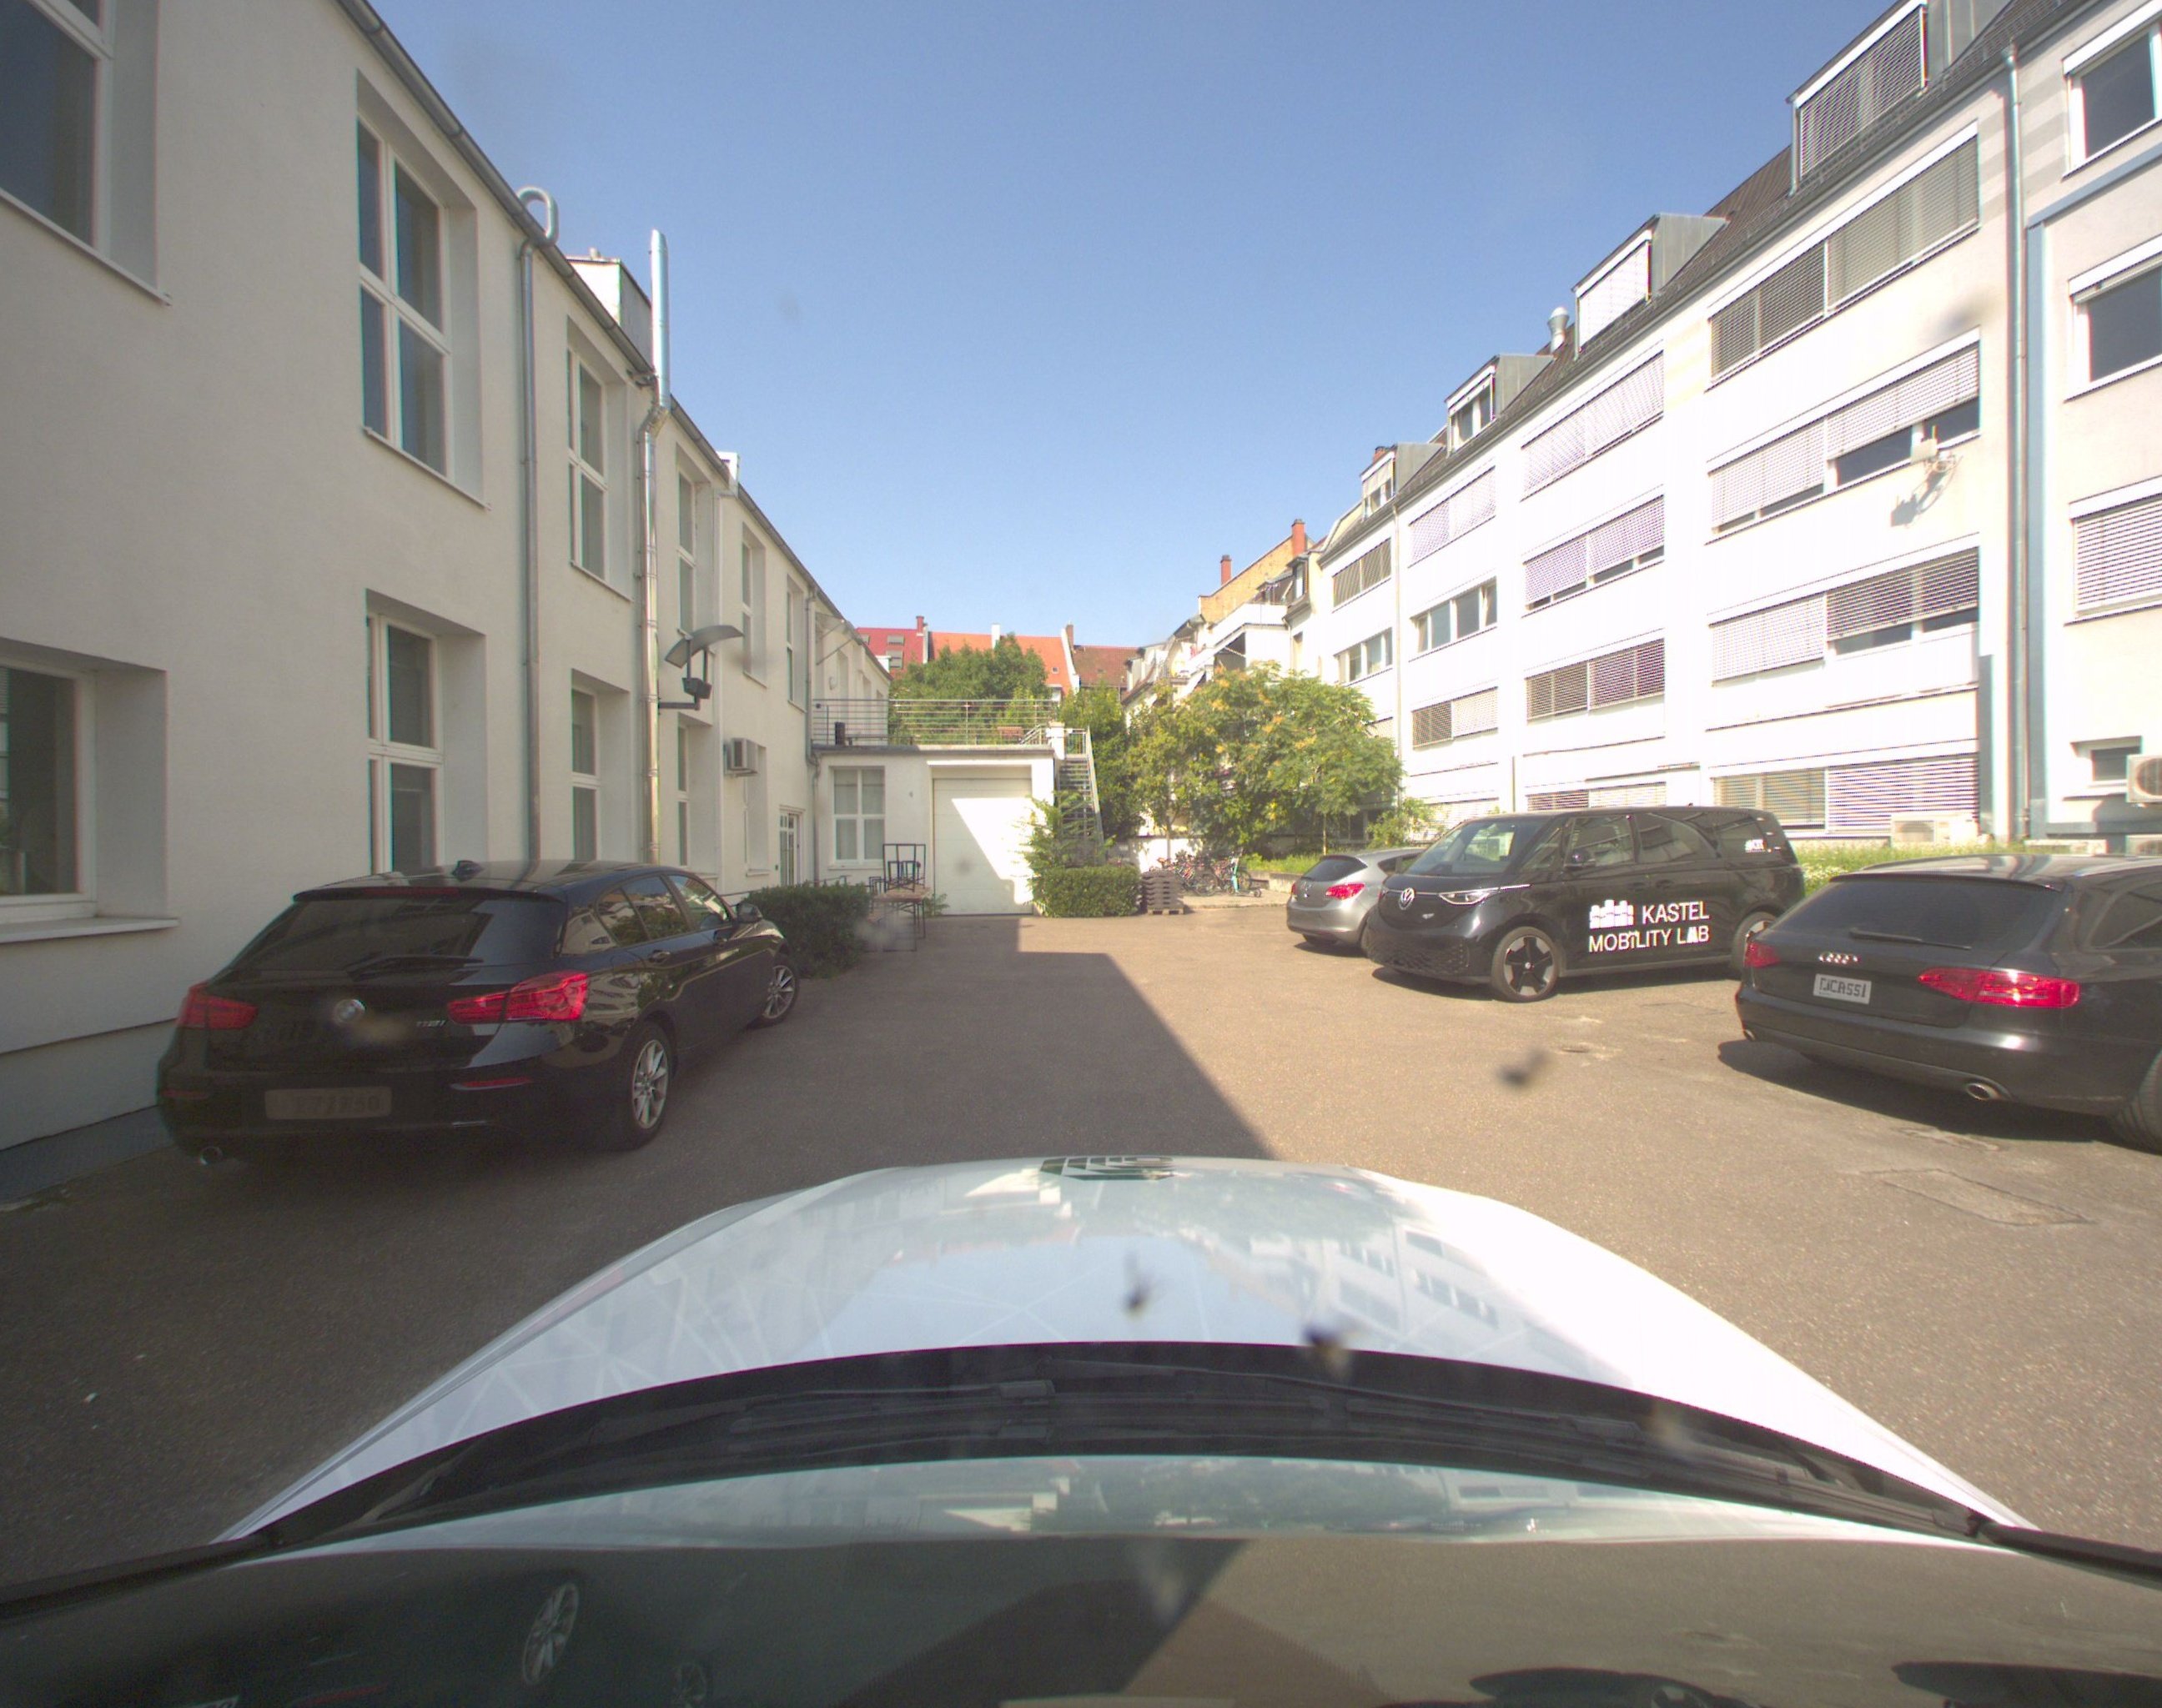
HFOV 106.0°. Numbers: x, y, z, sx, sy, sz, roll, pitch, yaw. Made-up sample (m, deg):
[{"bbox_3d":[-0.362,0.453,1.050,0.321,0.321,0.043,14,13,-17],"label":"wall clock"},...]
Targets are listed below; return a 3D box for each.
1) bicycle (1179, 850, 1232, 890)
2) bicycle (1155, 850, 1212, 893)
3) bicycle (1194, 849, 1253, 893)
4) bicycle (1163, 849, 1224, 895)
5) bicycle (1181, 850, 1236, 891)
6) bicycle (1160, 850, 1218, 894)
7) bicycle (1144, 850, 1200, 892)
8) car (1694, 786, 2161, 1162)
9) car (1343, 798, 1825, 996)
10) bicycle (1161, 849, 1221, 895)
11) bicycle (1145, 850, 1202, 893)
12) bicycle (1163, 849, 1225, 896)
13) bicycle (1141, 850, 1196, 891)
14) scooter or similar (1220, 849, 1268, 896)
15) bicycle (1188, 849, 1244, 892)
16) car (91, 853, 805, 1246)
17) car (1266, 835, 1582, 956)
[{"bbox_3d":[3.956,0.498,25.877,1.614,1.214,0.425,-2,0,8],"label":"bicycle"},{"bbox_3d":[2.995,0.506,23.796,1.613,1.214,0.328,-2,0,8],"label":"bicycle"},{"bbox_3d":[4.104,0.495,23.422,1.613,1.214,0.328,-2,0,10],"label":"bicycle"},{"bbox_3d":[3.143,0.504,22.697,1.619,1.214,0.326,-2,0,-3],"label":"bicycle"},{"bbox_3d":[3.885,0.498,24.843,1.614,1.214,0.425,-2,0,8],"label":"bicycle"},{"bbox_3d":[3.098,0.505,23.440,1.615,1.214,0.327,-2,0,5],"label":"bicycle"},{"bbox_3d":[2.802,0.509,25.094,1.623,1.214,0.422,-2,0,-10],"label":"bicycle"},{"bbox_3d":[6.234,0.520,4.816,4.113,1.691,1.767,-1,0,-7],"label":"car"},{"bbox_3d":[5.425,0.364,8.961,4.506,1.794,1.874,-1,0,-14],"label":"car"},{"bbox_3d":[3.093,0.505,22.988,1.619,1.214,0.326,-2,0,-3],"label":"bicycle"},{"bbox_3d":[2.762,0.510,24.455,1.620,1.214,0.423,-2,0,-5],"label":"bicycle"},{"bbox_3d":[3.099,0.504,22.372,1.619,1.214,0.326,-2,0,-3],"label":"bicycle"},{"bbox_3d":[2.755,0.510,25.694,1.623,1.214,0.423,-2,0,-9],"label":"bicycle"},{"bbox_3d":[4.441,0.497,22.236,0.381,1.261,1.334,-2,0,-36],"label":"scooter or similar"},{"bbox_3d":[4.023,0.496,24.277,1.613,1.214,0.425,-2,0,8],"label":"bicycle"},{"bbox_3d":[-3.078,0.738,5.113,1.686,1.459,3.915,-1,0,-6],"label":"car"},{"bbox_3d":[4.898,0.530,11.808,3.937,1.482,1.766,-1,0,-14],"label":"car"}]
